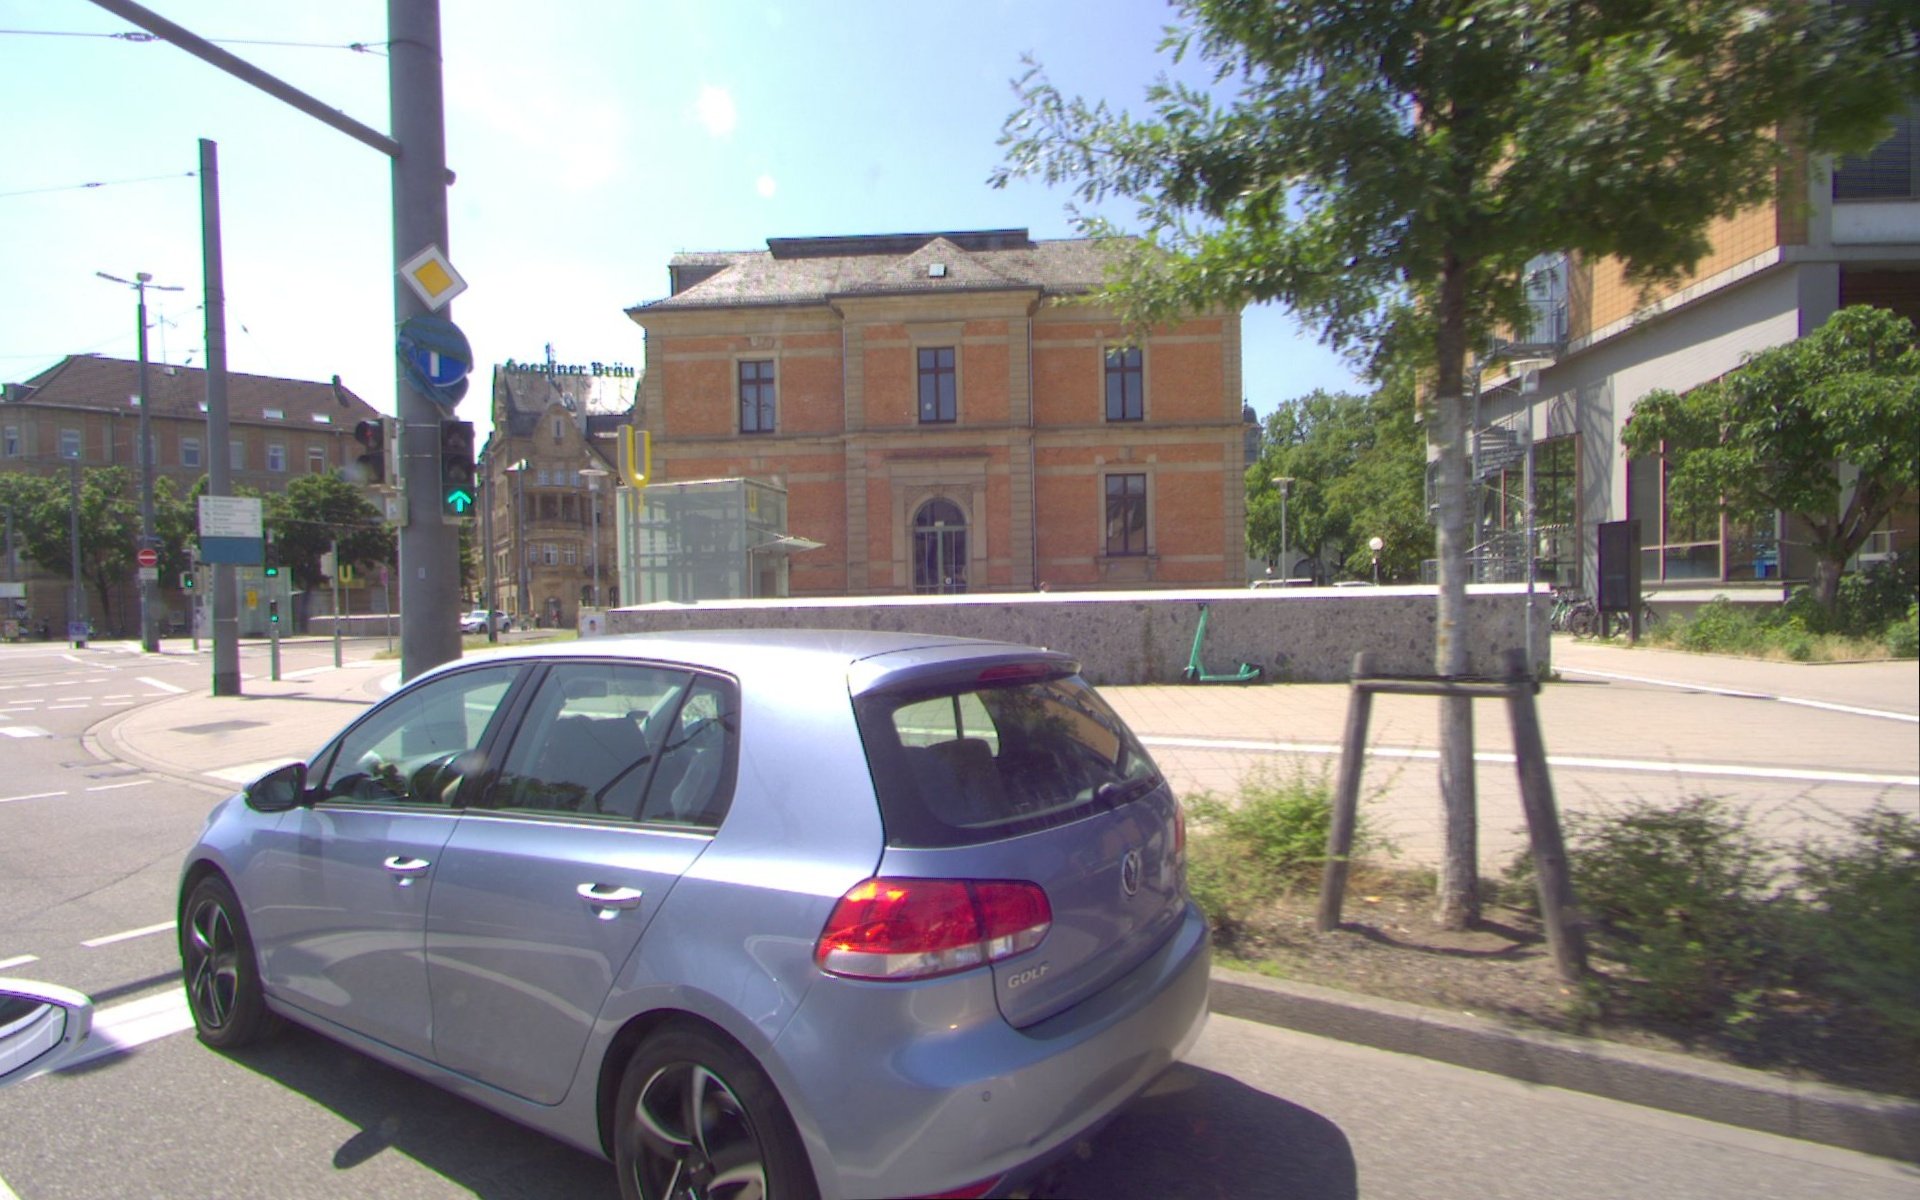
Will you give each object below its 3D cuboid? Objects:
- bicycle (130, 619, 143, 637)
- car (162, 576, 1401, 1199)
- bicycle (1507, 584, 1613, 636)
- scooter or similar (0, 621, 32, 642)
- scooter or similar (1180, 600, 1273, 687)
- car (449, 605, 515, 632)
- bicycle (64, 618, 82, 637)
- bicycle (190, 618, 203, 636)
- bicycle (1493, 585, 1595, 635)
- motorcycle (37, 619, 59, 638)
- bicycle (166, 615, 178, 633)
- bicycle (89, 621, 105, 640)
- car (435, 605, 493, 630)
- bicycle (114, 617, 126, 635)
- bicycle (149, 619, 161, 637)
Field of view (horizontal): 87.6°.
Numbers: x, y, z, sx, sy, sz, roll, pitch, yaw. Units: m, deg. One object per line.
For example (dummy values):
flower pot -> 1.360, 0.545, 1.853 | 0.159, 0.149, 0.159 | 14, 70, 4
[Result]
bicycle -> -51.589, 1.741, 62.718 | 0.547, 1.134, 1.804 | -1, 0, -40
car -> -0.828, 0.752, 3.265 | 3.948, 1.478, 1.648 | -1, -1, 33
bicycle -> 14.868, 0.253, 24.840 | 2.175, 1.234, 0.637 | -1, -1, 6
scooter or similar -> -57.333, 1.887, 60.521 | 0.588, 1.197, 1.790 | -1, 0, 14
scooter or similar -> 3.740, 0.606, 14.093 | 1.227, 1.186, 0.458 | -1, 1, 13
car -> -30.130, 1.159, 63.206 | 1.662, 1.626, 4.191 | -1, 0, 9
bicycle -> -53.561, 1.652, 60.475 | 1.798, 1.134, 0.548 | -1, 0, 40
bicycle -> -50.079, 1.748, 65.702 | 0.547, 1.134, 1.913 | -1, 0, -40
bicycle -> 14.949, 0.278, 25.670 | 2.175, 1.234, 0.637 | -1, -1, 6
motorcycle -> -54.373, 1.700, 59.690 | 1.921, 1.089, 0.578 | -1, 0, 37
bicycle -> -50.833, 1.565, 64.574 | 0.547, 1.134, 1.854 | -1, 0, -40
bicycle -> -53.001, 1.869, 61.474 | 2.069, 1.160, 0.440 | -2, -2, 40
car -> -33.578, 1.143, 67.873 | 1.662, 1.626, 3.651 | -1, 0, 9
bicycle -> -52.224, 1.610, 62.268 | 0.547, 1.134, 1.804 | -1, 0, -40
bicycle -> -51.051, 1.775, 63.505 | 0.547, 1.134, 1.873 | -1, 0, -40
